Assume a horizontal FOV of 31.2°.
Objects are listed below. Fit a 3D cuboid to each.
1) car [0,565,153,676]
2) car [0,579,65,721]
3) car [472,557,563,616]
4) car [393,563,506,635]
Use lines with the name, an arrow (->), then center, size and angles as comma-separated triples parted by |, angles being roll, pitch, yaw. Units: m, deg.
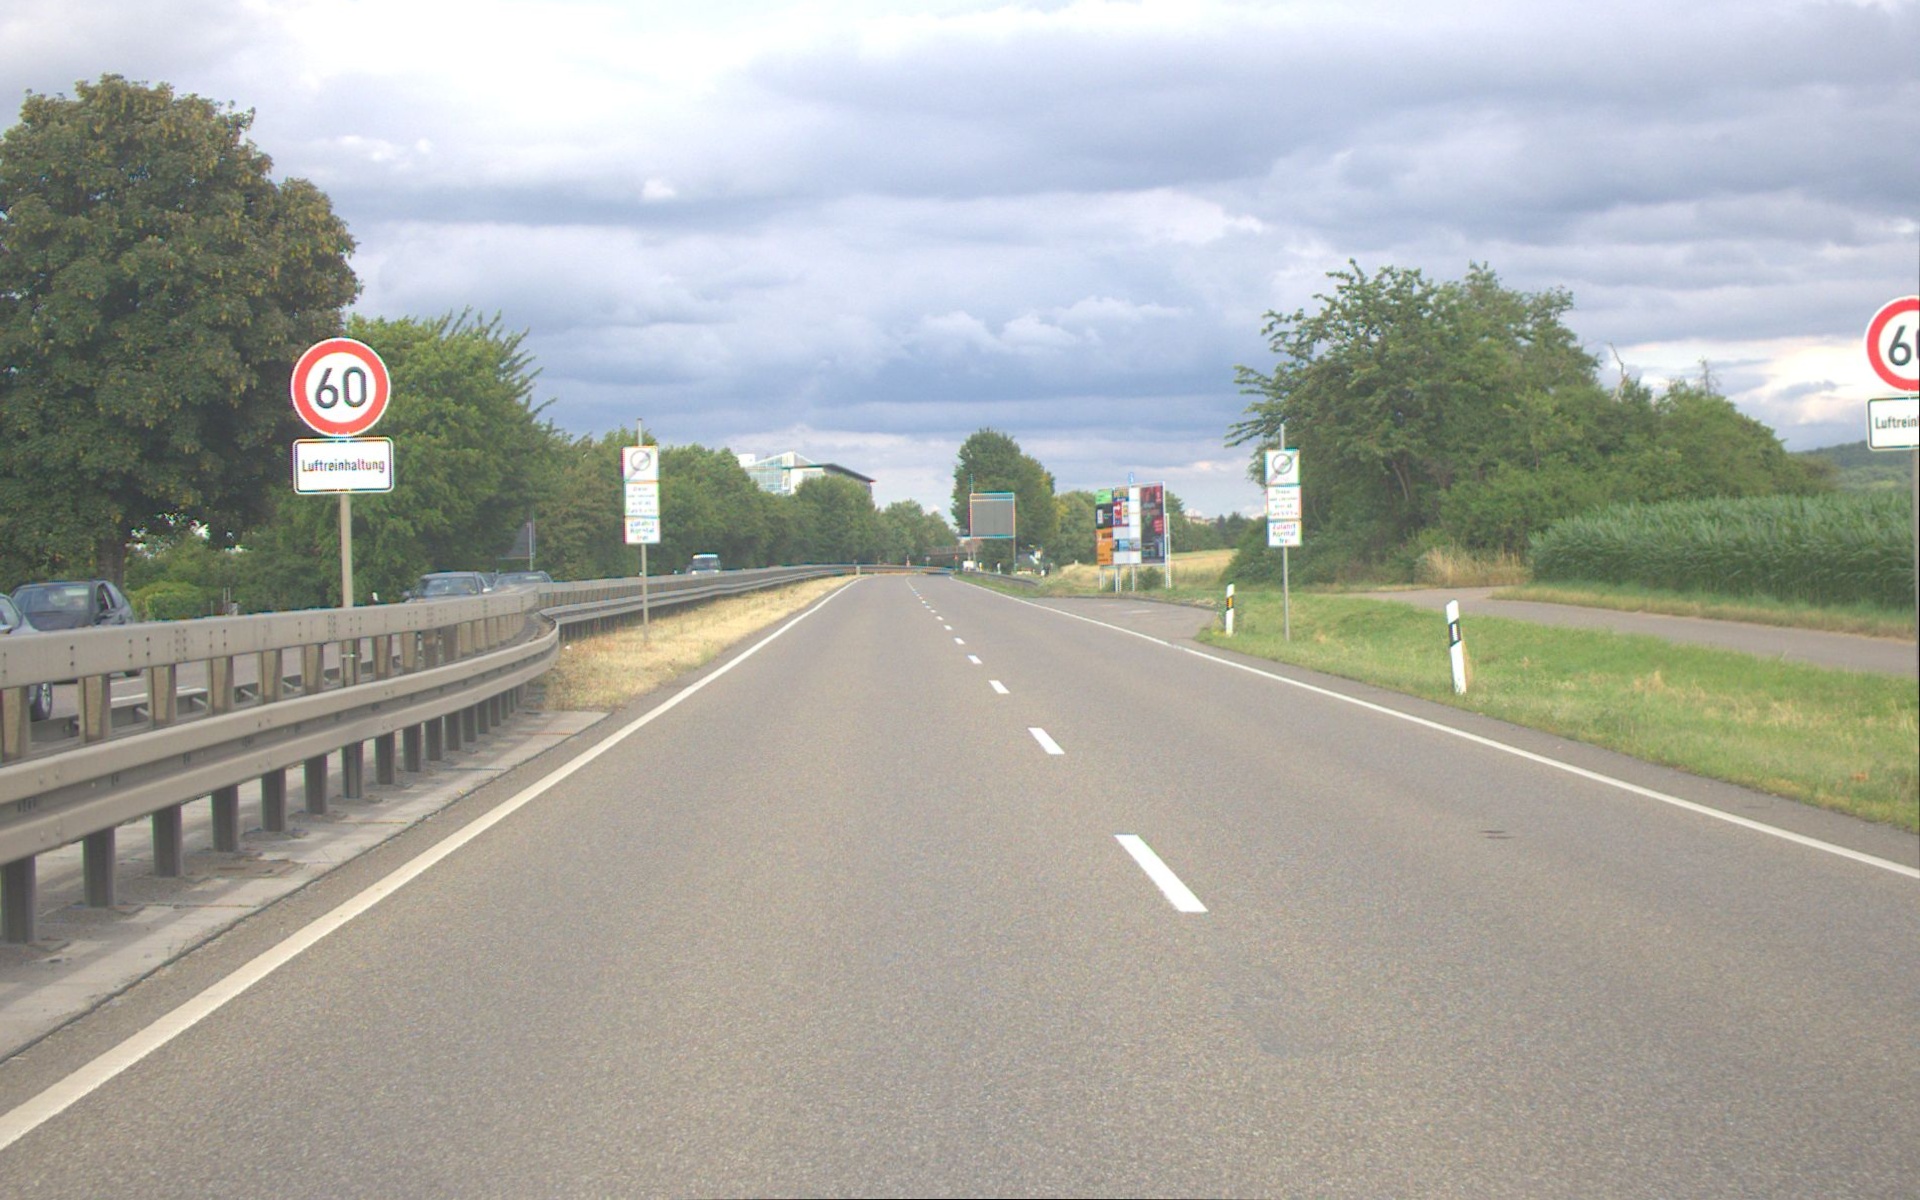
car -> -13.881, 0.288, 53.284 | 1.789, 1.568, 4.161 | -2, 1, -1
car -> -10.431, 0.532, 34.617 | 1.789, 1.381, 4.161 | -2, 1, -1
car -> -11.882, -0.388, 92.597 | 1.866, 1.472, 4.936 | -2, 1, -1
car -> -11.452, -0.050, 77.361 | 1.866, 1.472, 4.826 | -2, 1, -1
